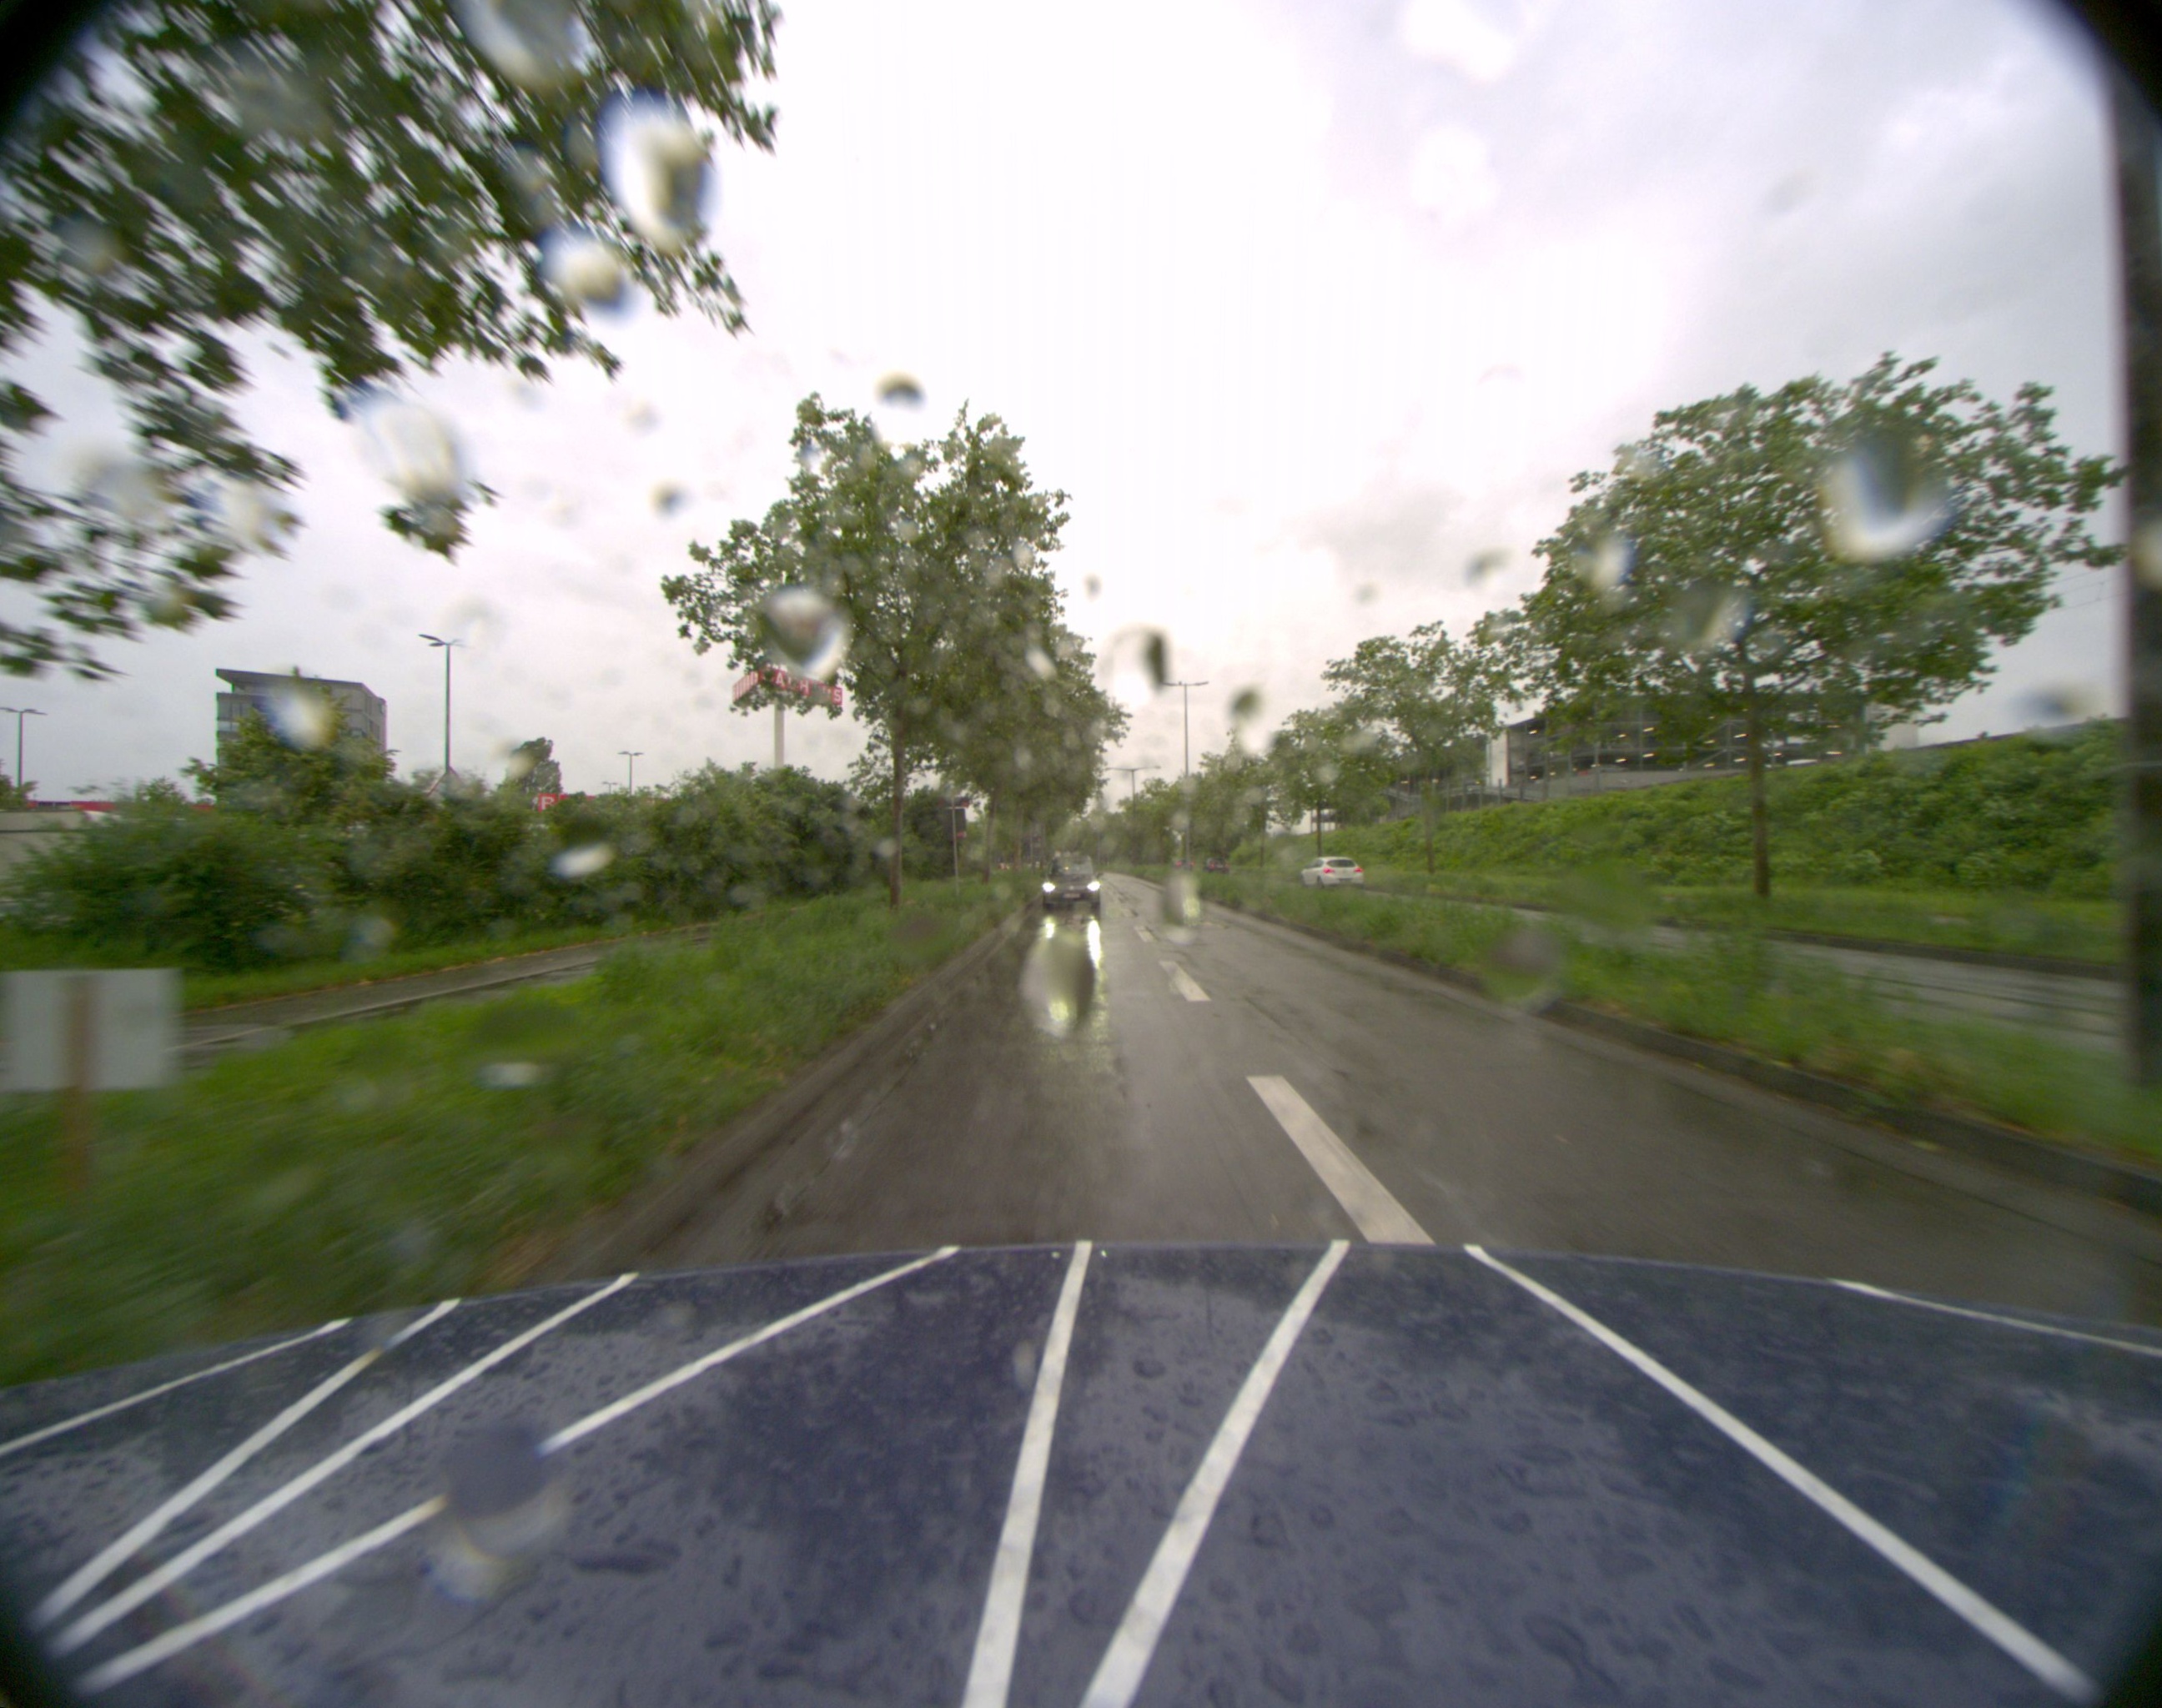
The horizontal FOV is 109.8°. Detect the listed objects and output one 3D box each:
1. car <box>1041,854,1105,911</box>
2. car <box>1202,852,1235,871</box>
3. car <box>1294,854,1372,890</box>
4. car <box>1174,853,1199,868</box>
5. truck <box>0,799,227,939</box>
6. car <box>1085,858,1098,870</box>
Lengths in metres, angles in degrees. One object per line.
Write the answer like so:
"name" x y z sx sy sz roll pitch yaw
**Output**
"car" -0.176 0.864 25.225 1.788 1.605 4.717 -2 0 2
"car" 11.113 0.591 61.603 1.936 1.436 3.707 -1 0 0
"car" 11.158 0.739 34.000 1.936 1.436 4.657 -1 0 0
"car" 10.775 0.687 77.994 1.936 1.436 4.496 -1 0 0
"truck" -20.035 0.328 13.495 6.552 2.291 2.219 -2 1 -6
"car" 1.438 1.350 105.373 1.729 1.470 4.000 -3 0 1
